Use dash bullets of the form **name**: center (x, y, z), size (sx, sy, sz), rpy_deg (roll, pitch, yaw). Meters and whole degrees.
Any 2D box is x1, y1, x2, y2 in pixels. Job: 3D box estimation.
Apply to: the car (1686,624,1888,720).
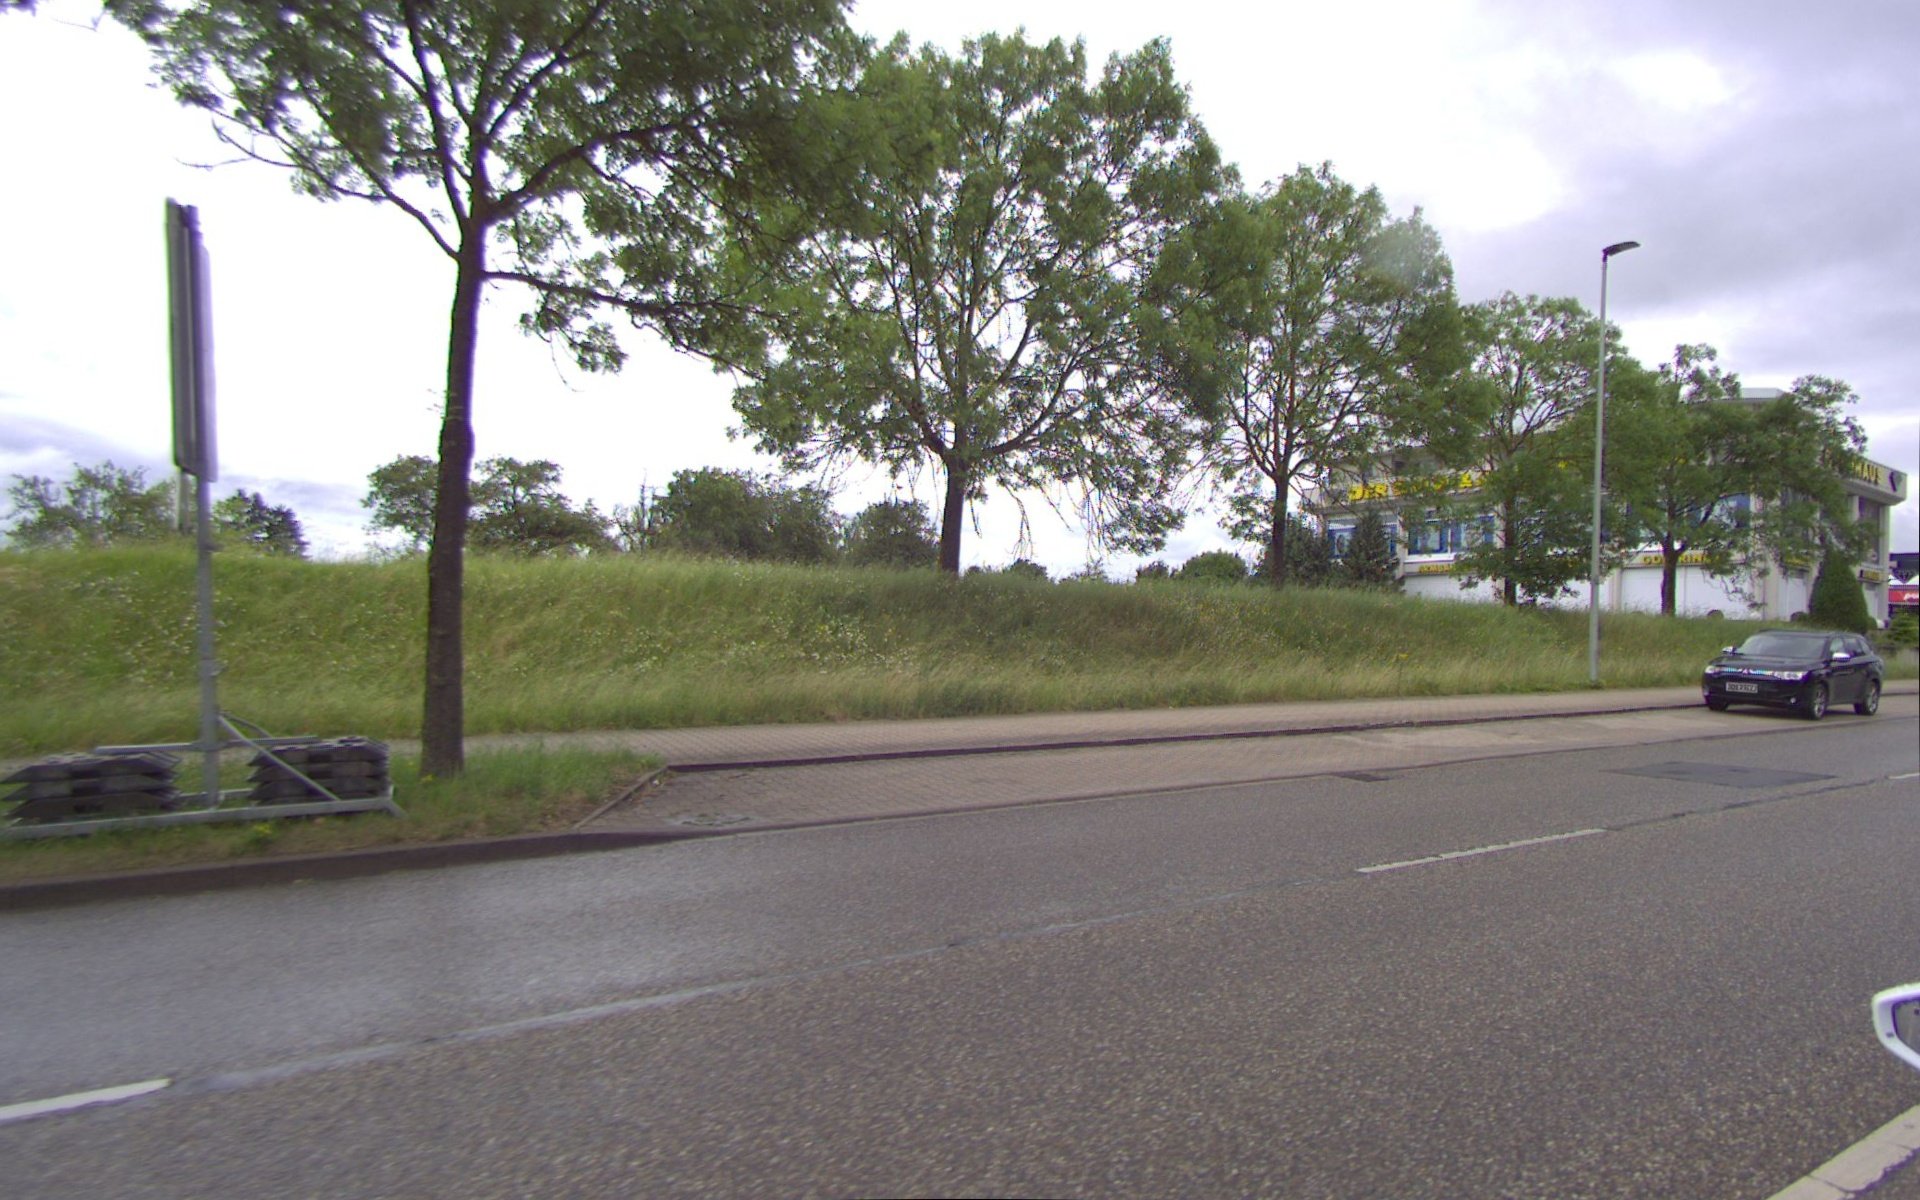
- **car**: center (16.741, 1.393, 20.290), size (4.435, 1.690, 1.717), rpy_deg (2, 0, -31)
